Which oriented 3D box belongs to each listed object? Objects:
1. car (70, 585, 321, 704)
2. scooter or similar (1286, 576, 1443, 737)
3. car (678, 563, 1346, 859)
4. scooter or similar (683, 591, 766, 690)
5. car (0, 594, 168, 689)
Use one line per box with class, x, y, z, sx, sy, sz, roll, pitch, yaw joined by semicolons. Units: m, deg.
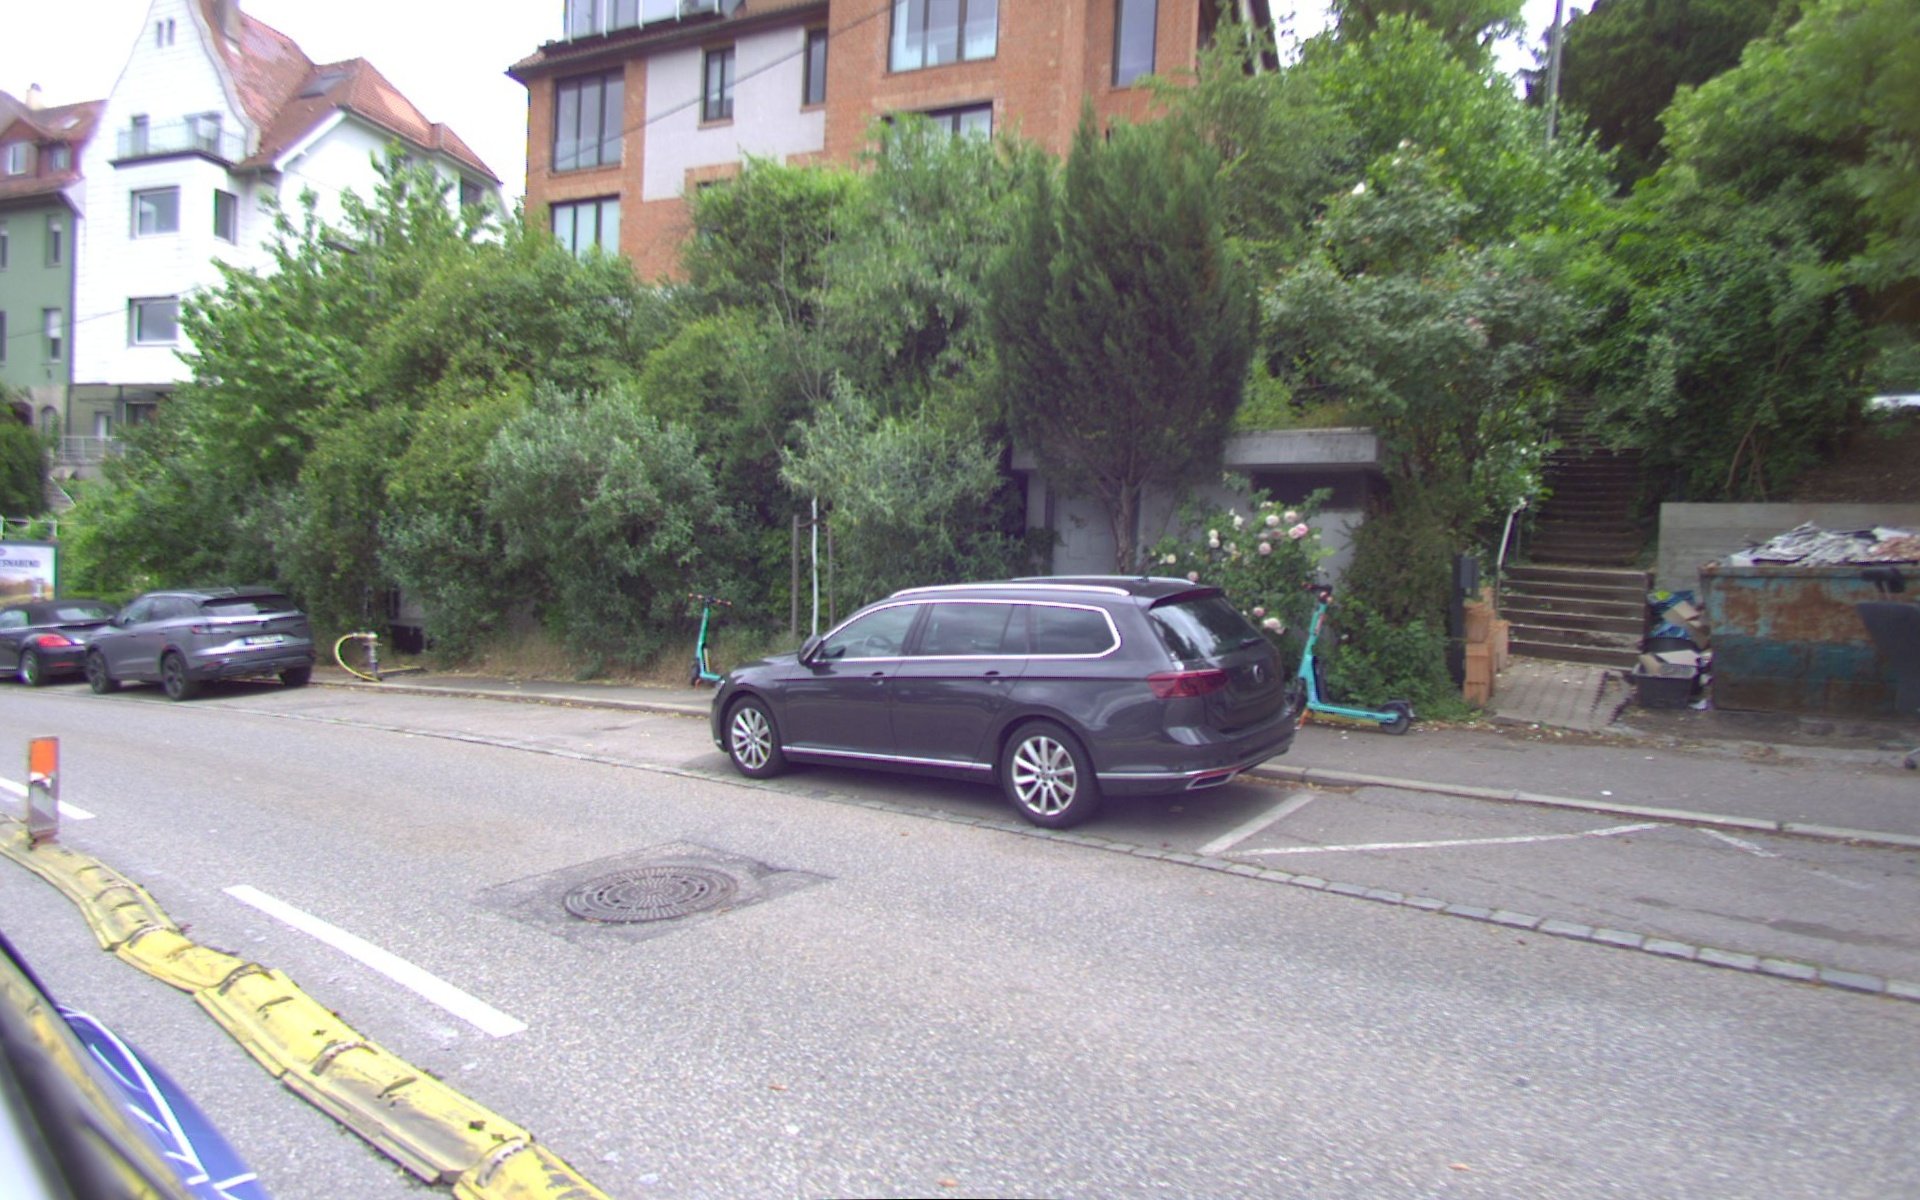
car;-12.195;0.632;16.089;4.170;1.617;1.675;0;3;31
scooter or similar;3.336;0.438;8.389;1.121;1.241;0.411;0;3;42
car;0.120;0.558;7.307;4.678;1.462;1.719;0;3;39
scooter or similar;-3.032;0.511;13.014;1.042;1.222;0.346;-1;2;31
car;-16.776;0.712;18.728;3.980;1.521;1.784;-1;3;27
